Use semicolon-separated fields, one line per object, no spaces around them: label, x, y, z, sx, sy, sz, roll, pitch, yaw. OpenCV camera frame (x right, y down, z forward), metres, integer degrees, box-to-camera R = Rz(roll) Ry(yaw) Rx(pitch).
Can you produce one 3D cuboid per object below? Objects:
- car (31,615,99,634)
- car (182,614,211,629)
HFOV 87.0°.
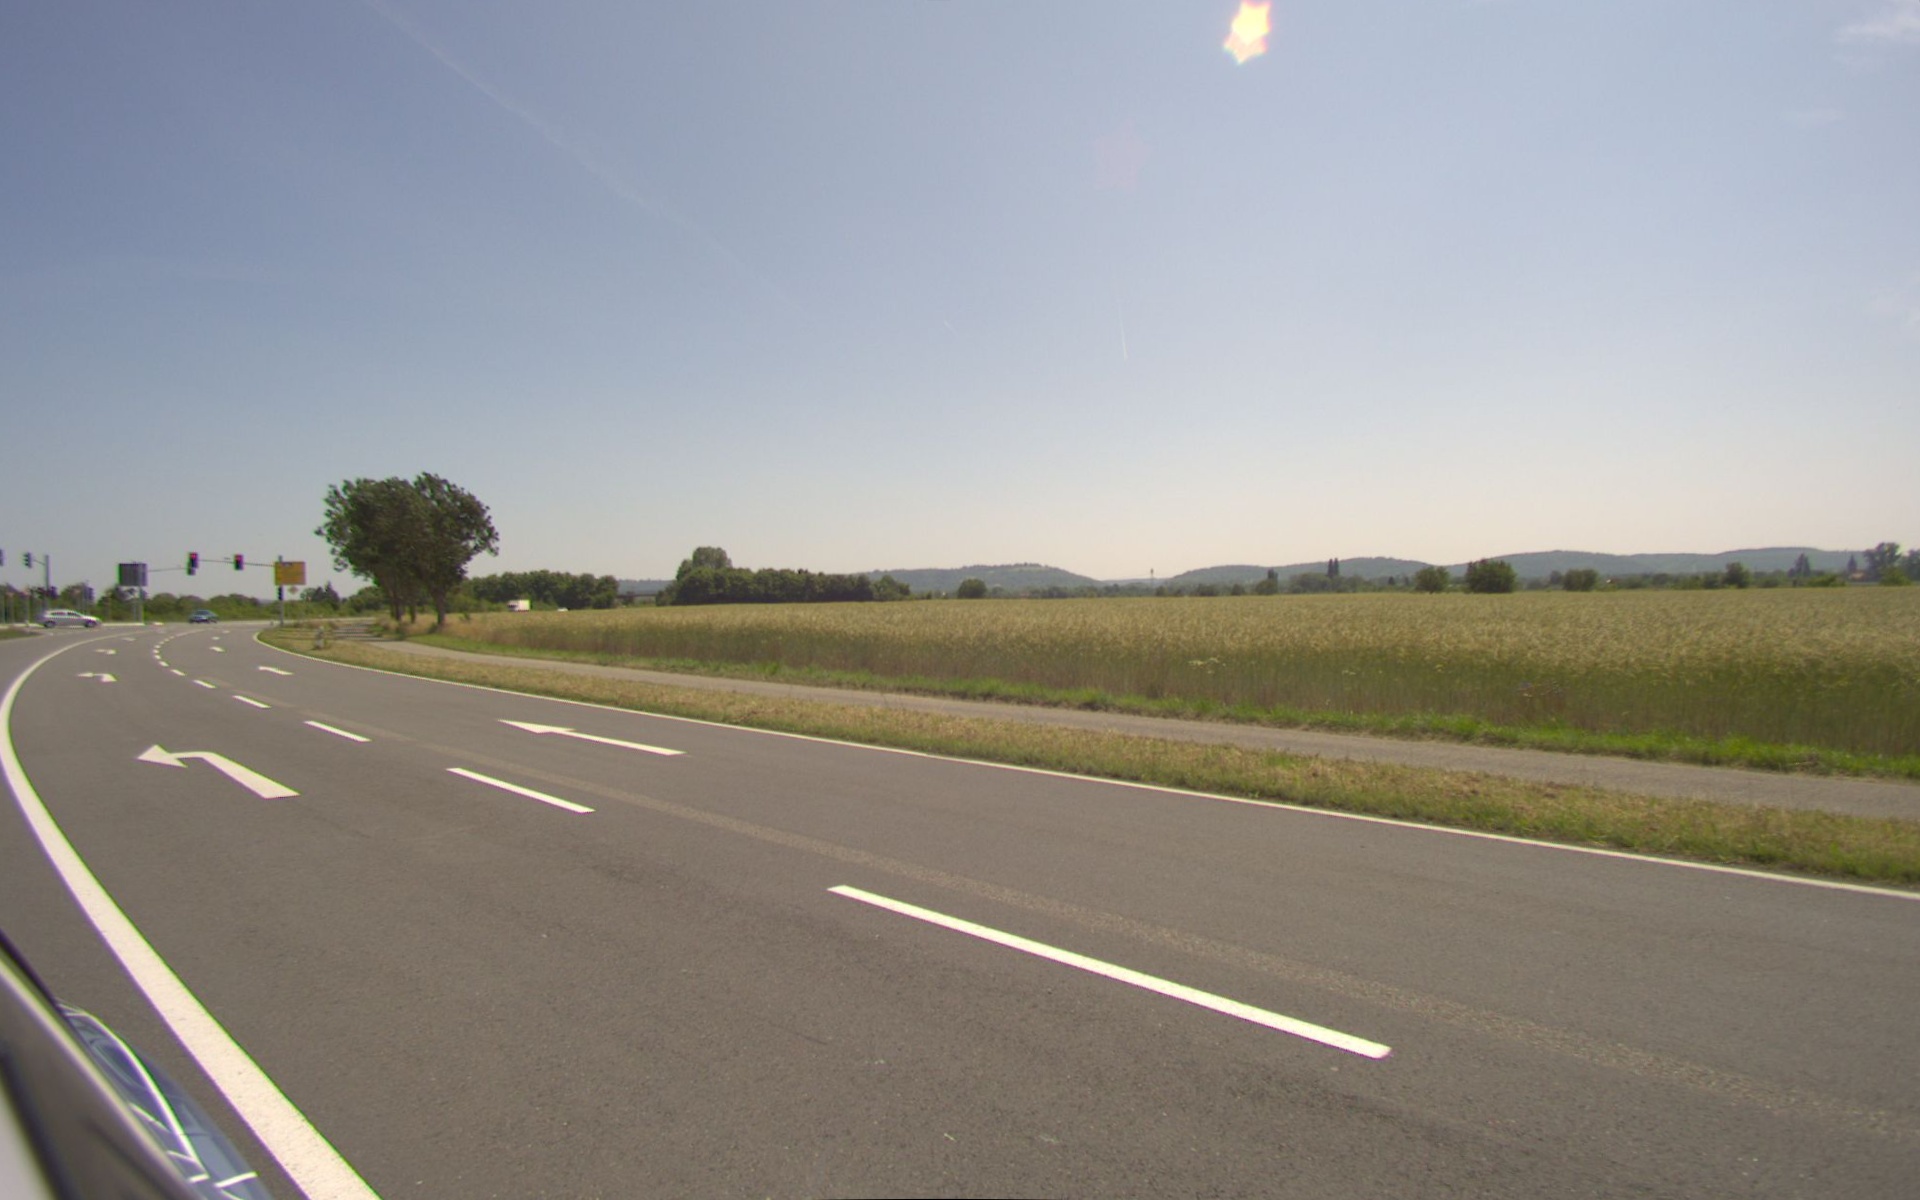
car;-74.196;2.033;83.907;1.661;1.471;4.094;-1;0;42
car;-82.508;2.278;109.386;1.629;1.578;4.013;0;-1;-24
